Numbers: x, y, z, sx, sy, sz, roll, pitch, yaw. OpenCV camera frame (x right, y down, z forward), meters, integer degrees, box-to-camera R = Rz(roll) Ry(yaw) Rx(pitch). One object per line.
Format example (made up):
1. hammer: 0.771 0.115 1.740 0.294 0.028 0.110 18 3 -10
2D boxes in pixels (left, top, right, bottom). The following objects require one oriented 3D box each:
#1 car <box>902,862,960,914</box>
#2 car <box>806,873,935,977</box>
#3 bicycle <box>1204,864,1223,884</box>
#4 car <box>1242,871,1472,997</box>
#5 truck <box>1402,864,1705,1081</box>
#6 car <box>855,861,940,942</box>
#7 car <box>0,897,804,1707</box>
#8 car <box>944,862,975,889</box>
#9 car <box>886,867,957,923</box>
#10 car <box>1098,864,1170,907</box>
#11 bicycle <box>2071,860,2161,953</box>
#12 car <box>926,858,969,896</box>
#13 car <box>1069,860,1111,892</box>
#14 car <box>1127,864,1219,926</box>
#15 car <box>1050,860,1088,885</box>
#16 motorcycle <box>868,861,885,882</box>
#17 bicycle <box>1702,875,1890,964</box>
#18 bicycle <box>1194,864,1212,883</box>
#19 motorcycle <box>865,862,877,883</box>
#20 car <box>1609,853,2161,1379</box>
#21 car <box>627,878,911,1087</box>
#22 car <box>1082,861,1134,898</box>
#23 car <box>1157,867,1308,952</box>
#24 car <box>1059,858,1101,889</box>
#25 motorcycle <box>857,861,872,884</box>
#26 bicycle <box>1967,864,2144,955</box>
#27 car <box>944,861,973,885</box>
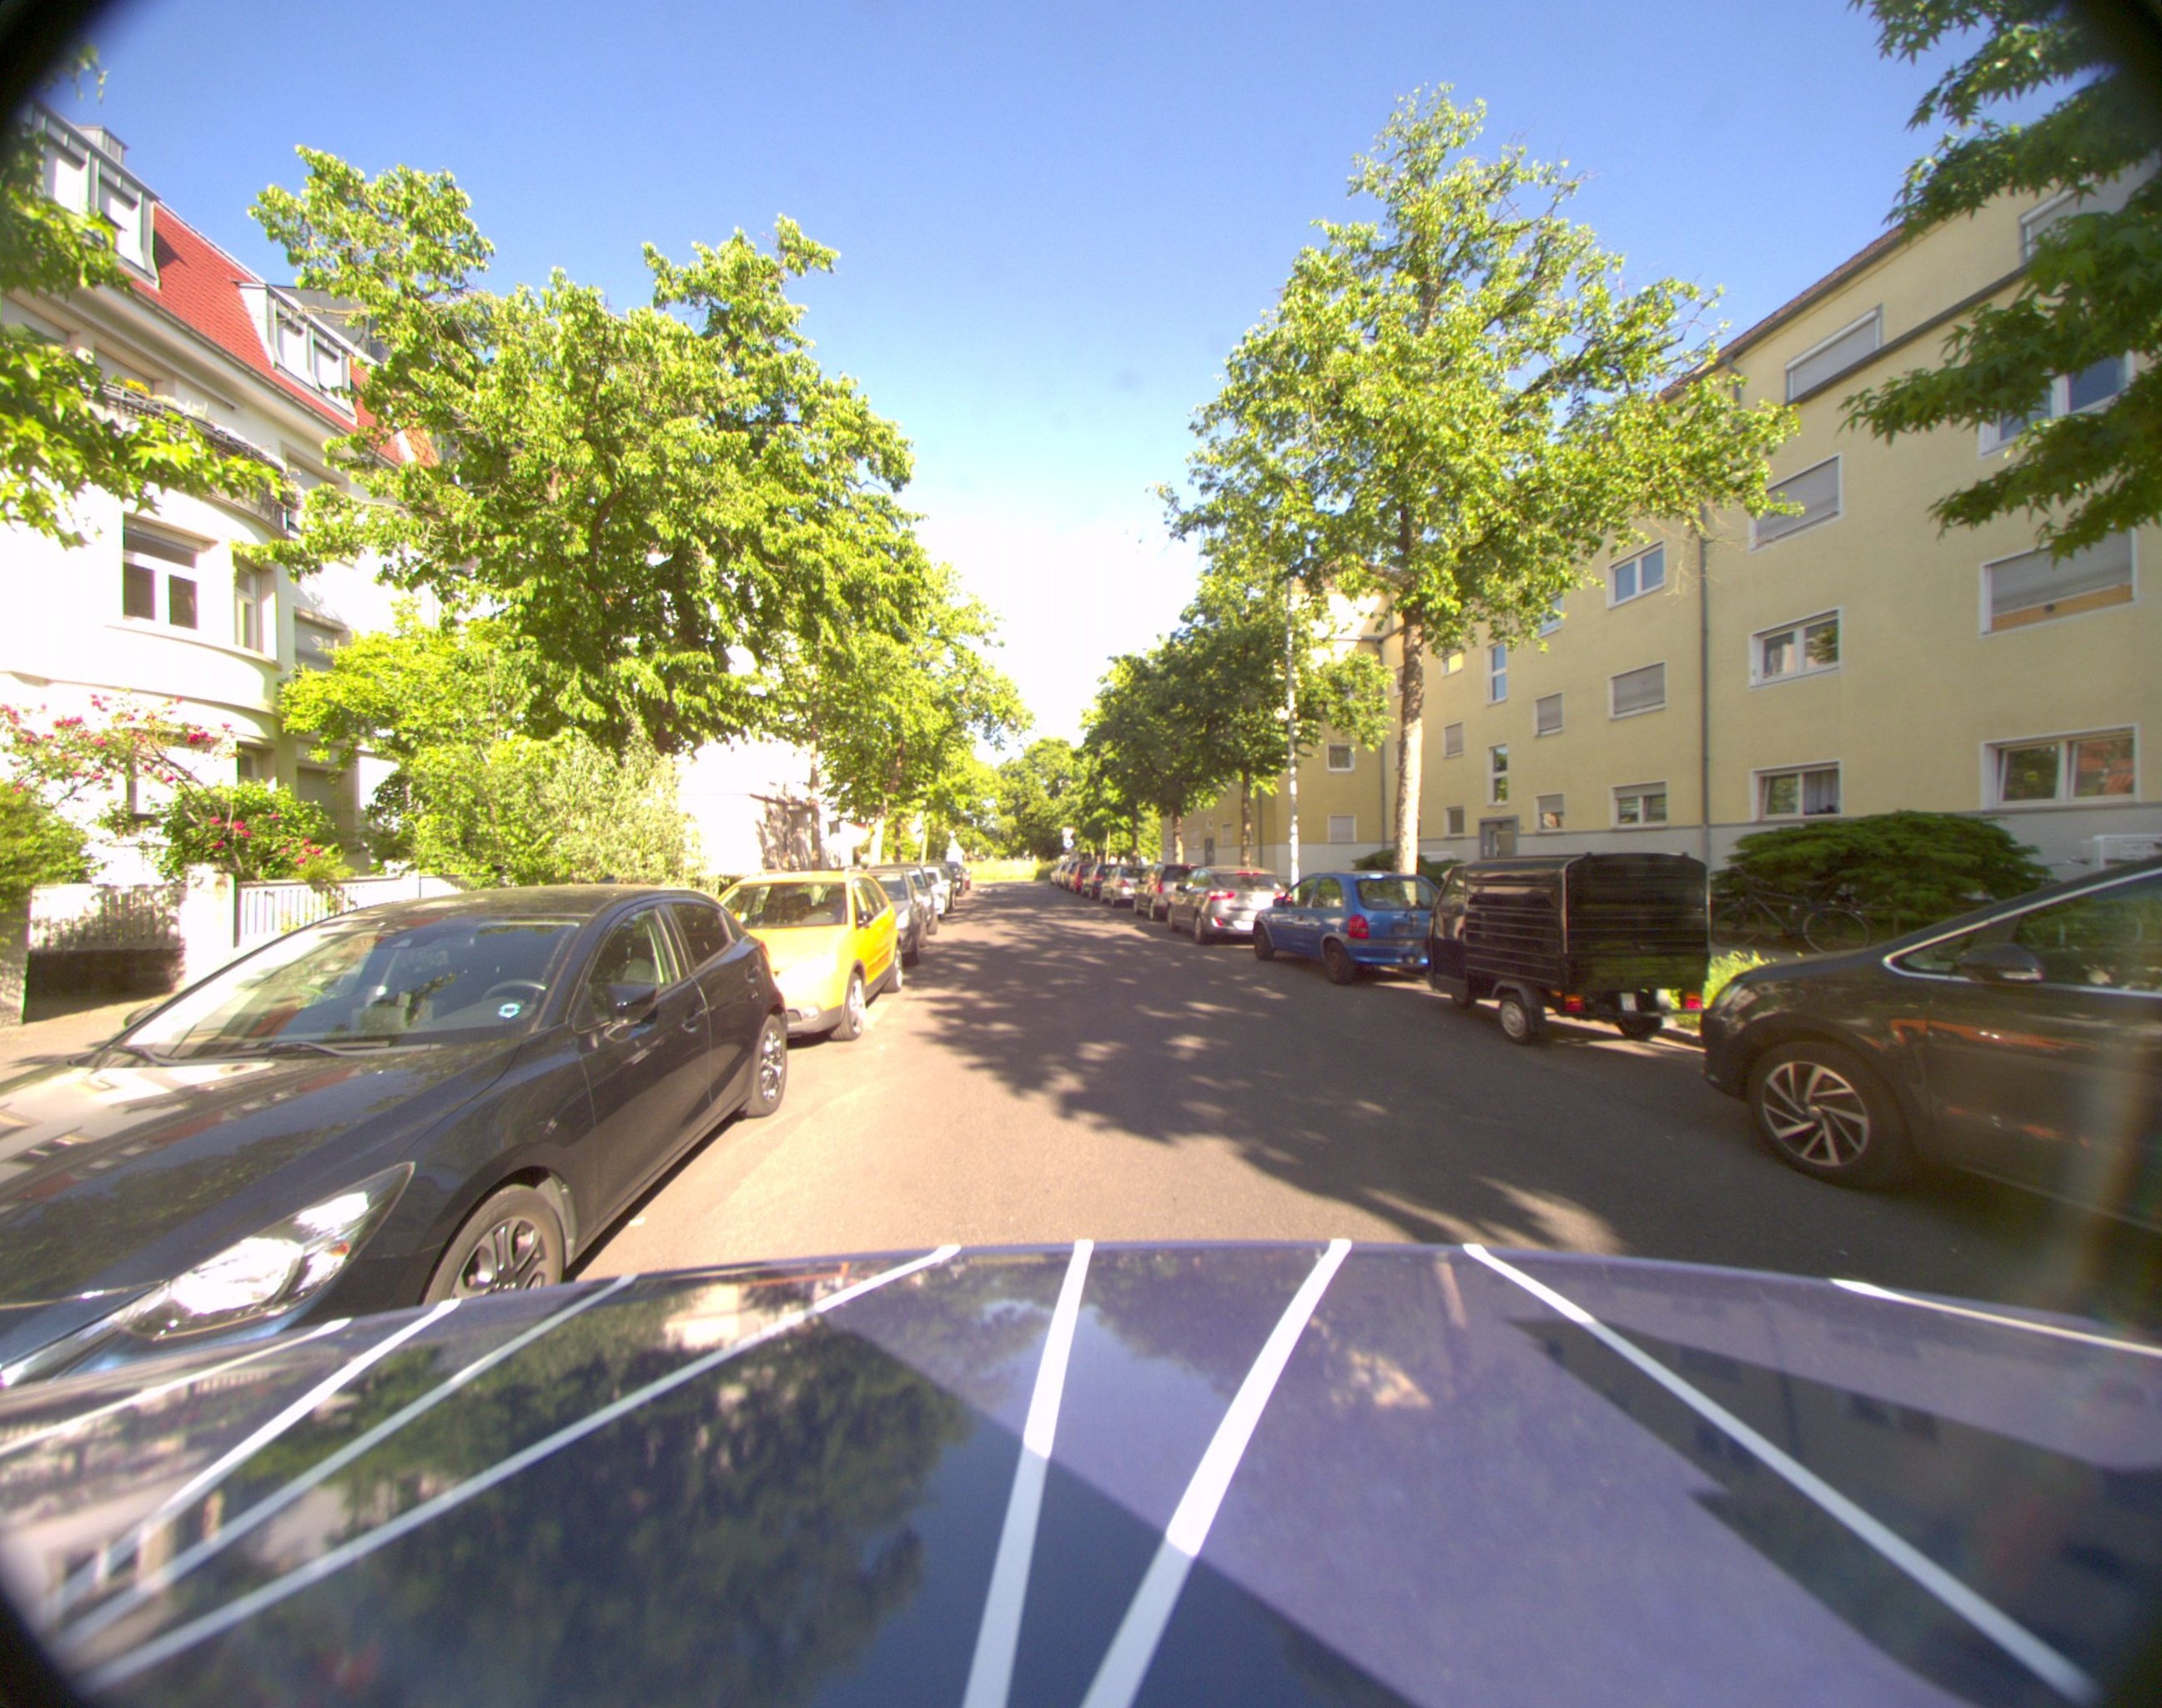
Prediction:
1. car: -5.254 1.142 27.089 1.689 1.578 4.532 -3 0 -8
2. car: -3.401 1.065 12.856 1.654 1.420 3.610 0 0 -8
3. bicycle: 6.864 1.027 39.476 0.537 1.021 1.747 -1 0 -5
4. car: 3.670 0.984 10.830 1.525 1.387 3.724 -1 0 -8
5. truck: 4.009 0.884 6.820 1.087 1.568 2.431 -1 0 -4
6. car: -4.208 1.014 17.913 1.654 1.646 3.844 -1 0 -10
7. car: -2.605 1.013 3.262 1.706 1.440 4.080 0 0 -6
8. car: -6.978 1.178 43.350 1.617 1.401 4.347 -1 0 -10
9. car: -4.629 1.131 22.537 1.635 1.416 4.365 0 0 -6
10. car: 1.792 1.071 27.111 1.751 1.360 4.671 0 0 -6
11. bicycle: 14.462 0.678 10.196 1.844 1.139 0.486 -3 2 -3
12. car: -6.325 1.039 36.282 1.786 1.688 4.295 0 0 -7
13. car: 0.407 1.053 37.390 1.670 1.477 3.254 -1 0 -6
14. car: 2.453 1.061 21.213 1.625 1.506 4.266 1 0 -6
15. car: -0.806 1.143 48.321 1.766 1.433 3.991 -1 0 -10
16. motorcycle: -13.799 1.180 51.341 0.974 1.321 1.851 -1 0 -12
17. bicycle: 9.882 0.863 10.587 0.487 1.075 1.841 -4 2 -30
18. bicycle: 6.640 1.047 41.396 0.542 1.021 1.747 -1 0 -5
19. motorcycle: -13.672 1.189 49.474 0.659 1.272 1.798 1 0 -13
20. car: 4.408 0.857 2.207 1.855 1.670 4.973 2 -1 -7
21. car: -2.817 1.032 7.829 1.642 1.446 4.097 -1 0 -7
22. car: 1.084 1.058 32.540 1.670 1.450 3.930 -1 0 -6
23. car: 2.889 1.015 15.615 1.797 1.436 4.686 1 0 -5
24. car: -0.124 1.032 41.941 1.697 1.555 4.732 -1 0 -8
25. motorcycle: -13.445 1.133 47.124 0.541 1.353 2.088 -1 0 -7
26. bicycle: 13.000 0.723 10.150 1.844 1.075 0.486 -3 2 -3
27. car: -7.721 1.179 48.131 1.658 1.394 4.133 -1 0 -7
